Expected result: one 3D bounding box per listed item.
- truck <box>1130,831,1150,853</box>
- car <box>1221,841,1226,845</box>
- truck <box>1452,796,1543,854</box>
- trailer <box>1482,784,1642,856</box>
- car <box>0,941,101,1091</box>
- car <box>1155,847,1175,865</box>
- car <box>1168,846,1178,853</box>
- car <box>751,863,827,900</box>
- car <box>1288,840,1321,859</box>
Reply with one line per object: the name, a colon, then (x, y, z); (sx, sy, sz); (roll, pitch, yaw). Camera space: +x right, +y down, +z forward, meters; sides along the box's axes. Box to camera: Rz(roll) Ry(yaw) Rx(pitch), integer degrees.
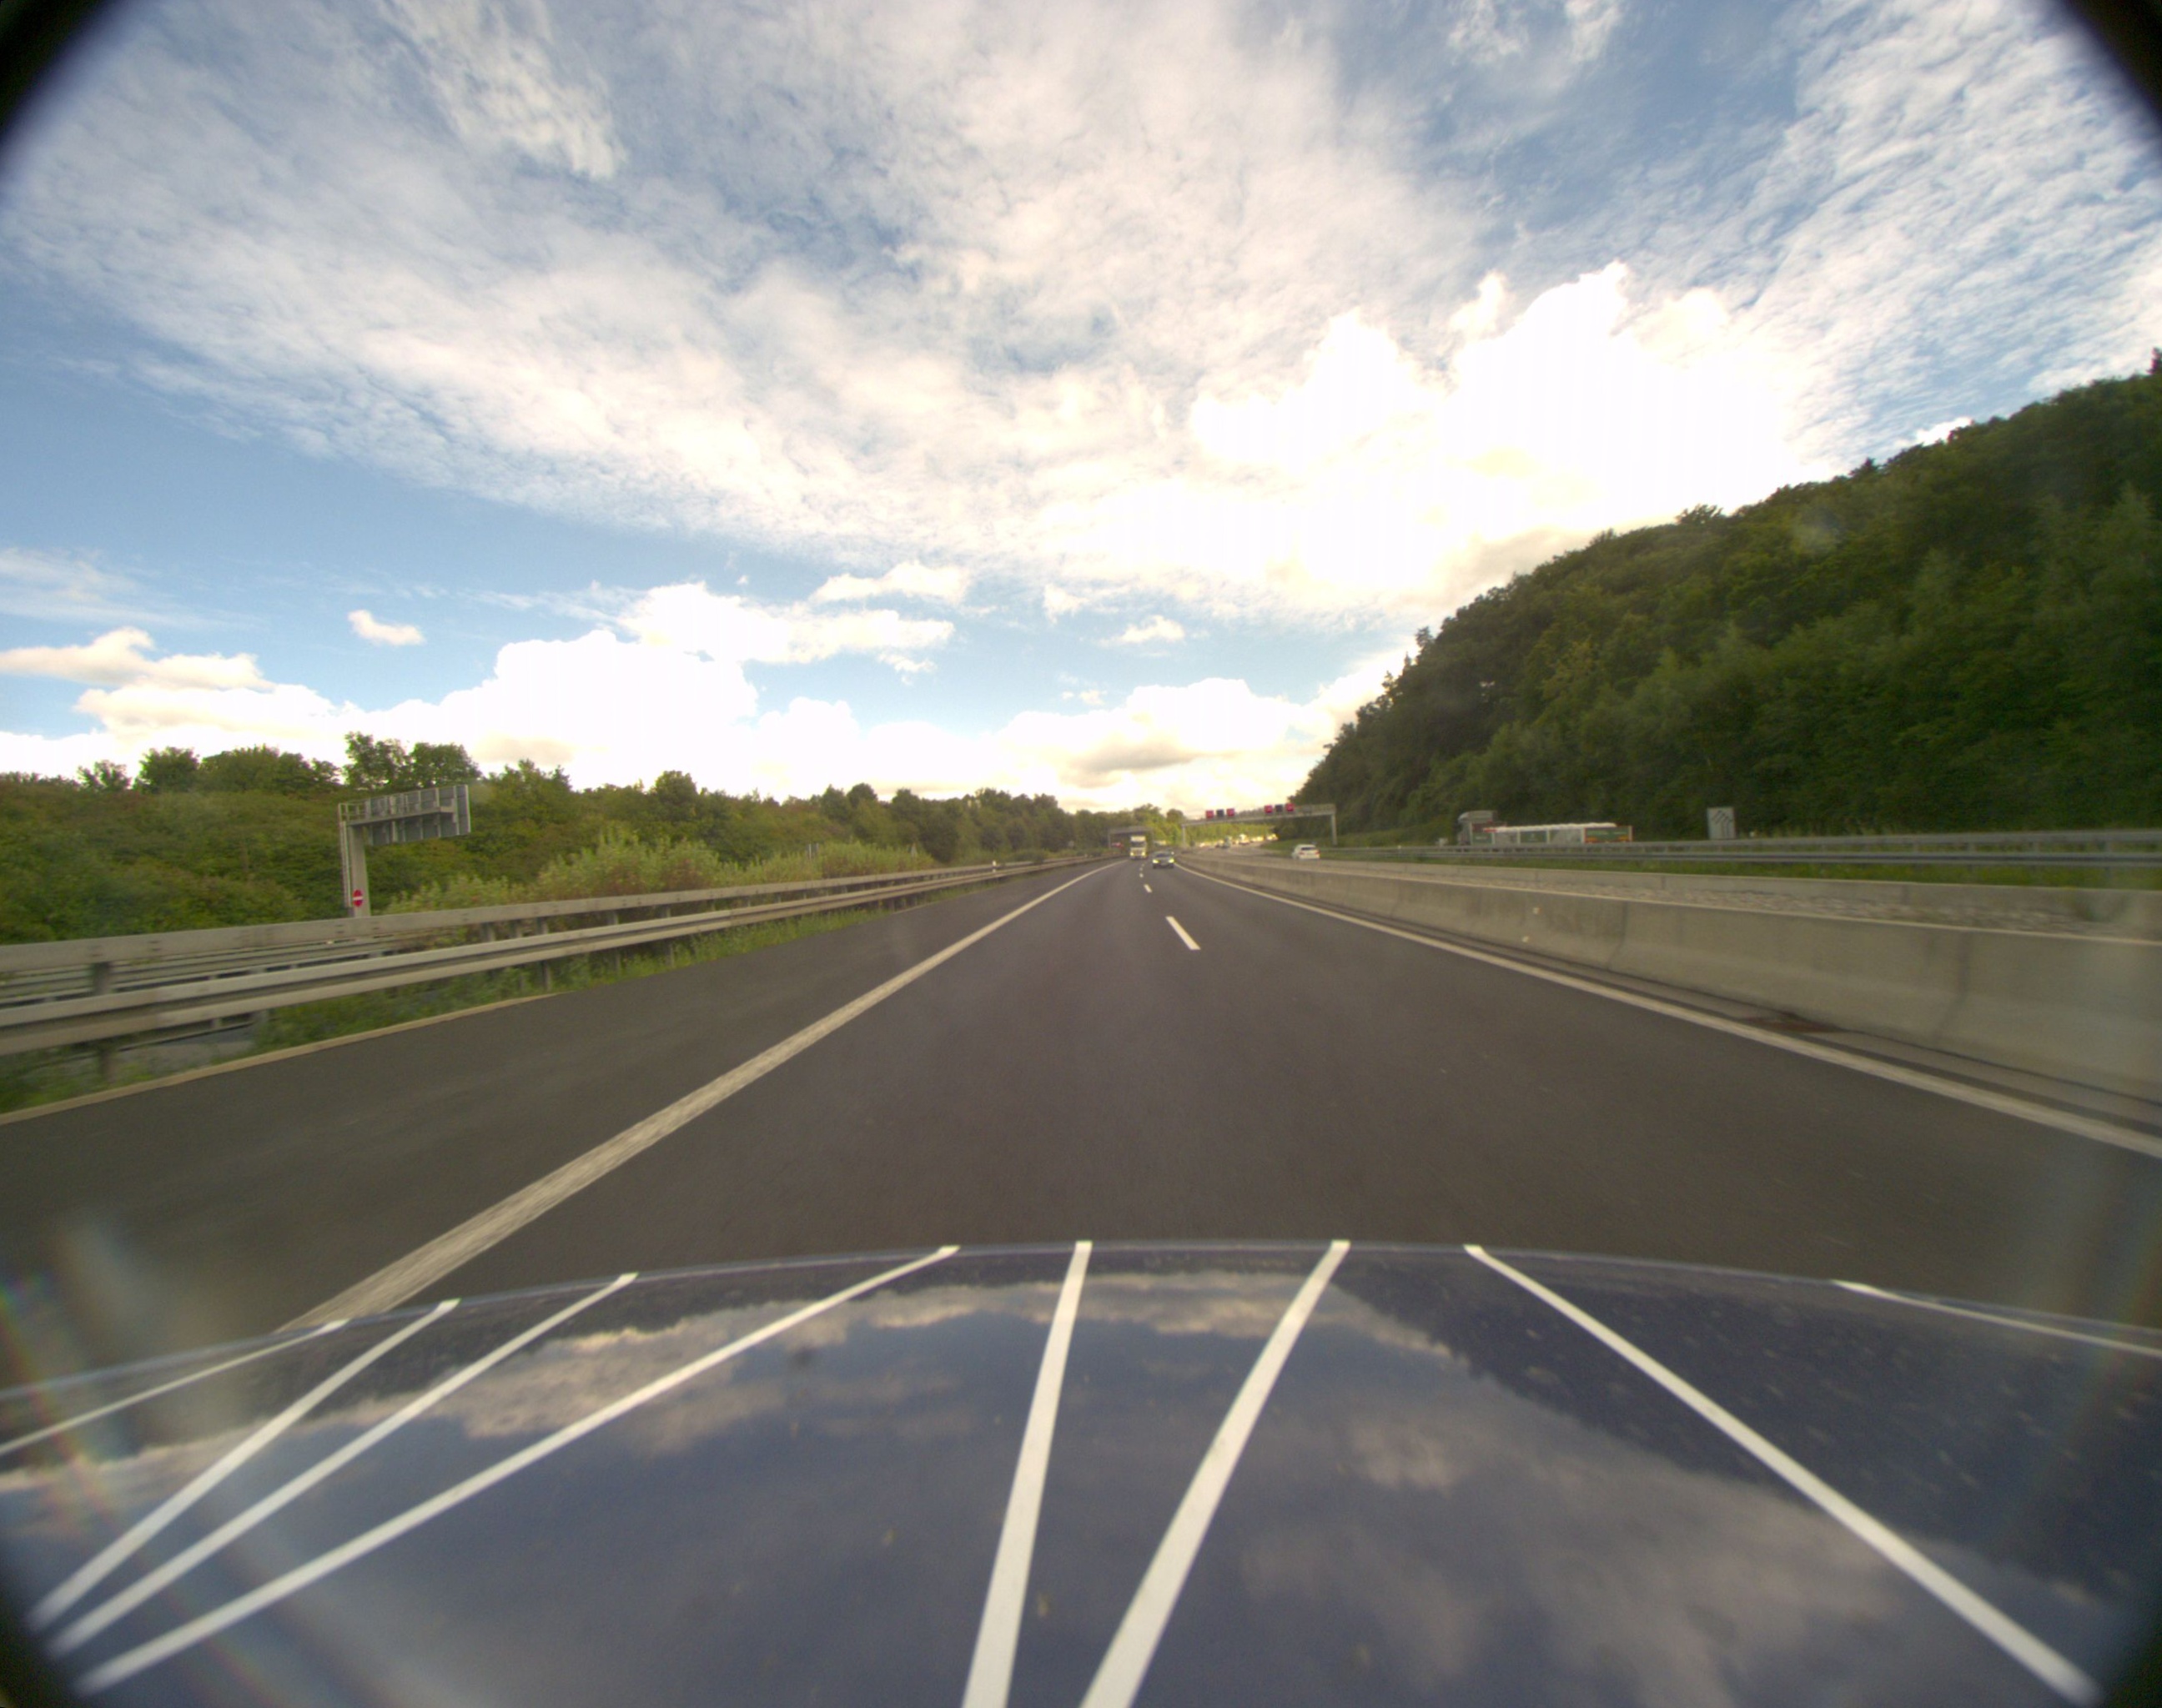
truck: (10.591, -2.168, 135.300); (2.795, 3.563, 11.461); (-2, 2, 7)
car: (49.386, -3.697, 263.255); (1.669, 1.387, 4.603); (-2, 1, 8)
truck: (29.624, -1.982, 54.477); (2.816, 3.804, 7.130); (-2, 1, 3)
trailer: (29.218, -1.902, 47.181); (2.819, 3.785, 12.190); (-2, 0, 4)
car: (-12.585, 1.847, 6.648); (1.788, 1.510, 4.676); (-2, 1, 2)
car: (7.642, 0.169, 68.557); (1.661, 1.464, 4.001); (-2, 1, 8)
car: (20.657, -1.099, 170.851); (1.997, 1.464, 4.002); (-2, 0, 9)
car: (-14.298, 1.301, 37.504); (1.788, 1.562, 4.345); (-2, 0, 4)
car: (19.706, -0.431, 67.201); (1.716, 1.519, 4.766); (-2, 2, 3)
